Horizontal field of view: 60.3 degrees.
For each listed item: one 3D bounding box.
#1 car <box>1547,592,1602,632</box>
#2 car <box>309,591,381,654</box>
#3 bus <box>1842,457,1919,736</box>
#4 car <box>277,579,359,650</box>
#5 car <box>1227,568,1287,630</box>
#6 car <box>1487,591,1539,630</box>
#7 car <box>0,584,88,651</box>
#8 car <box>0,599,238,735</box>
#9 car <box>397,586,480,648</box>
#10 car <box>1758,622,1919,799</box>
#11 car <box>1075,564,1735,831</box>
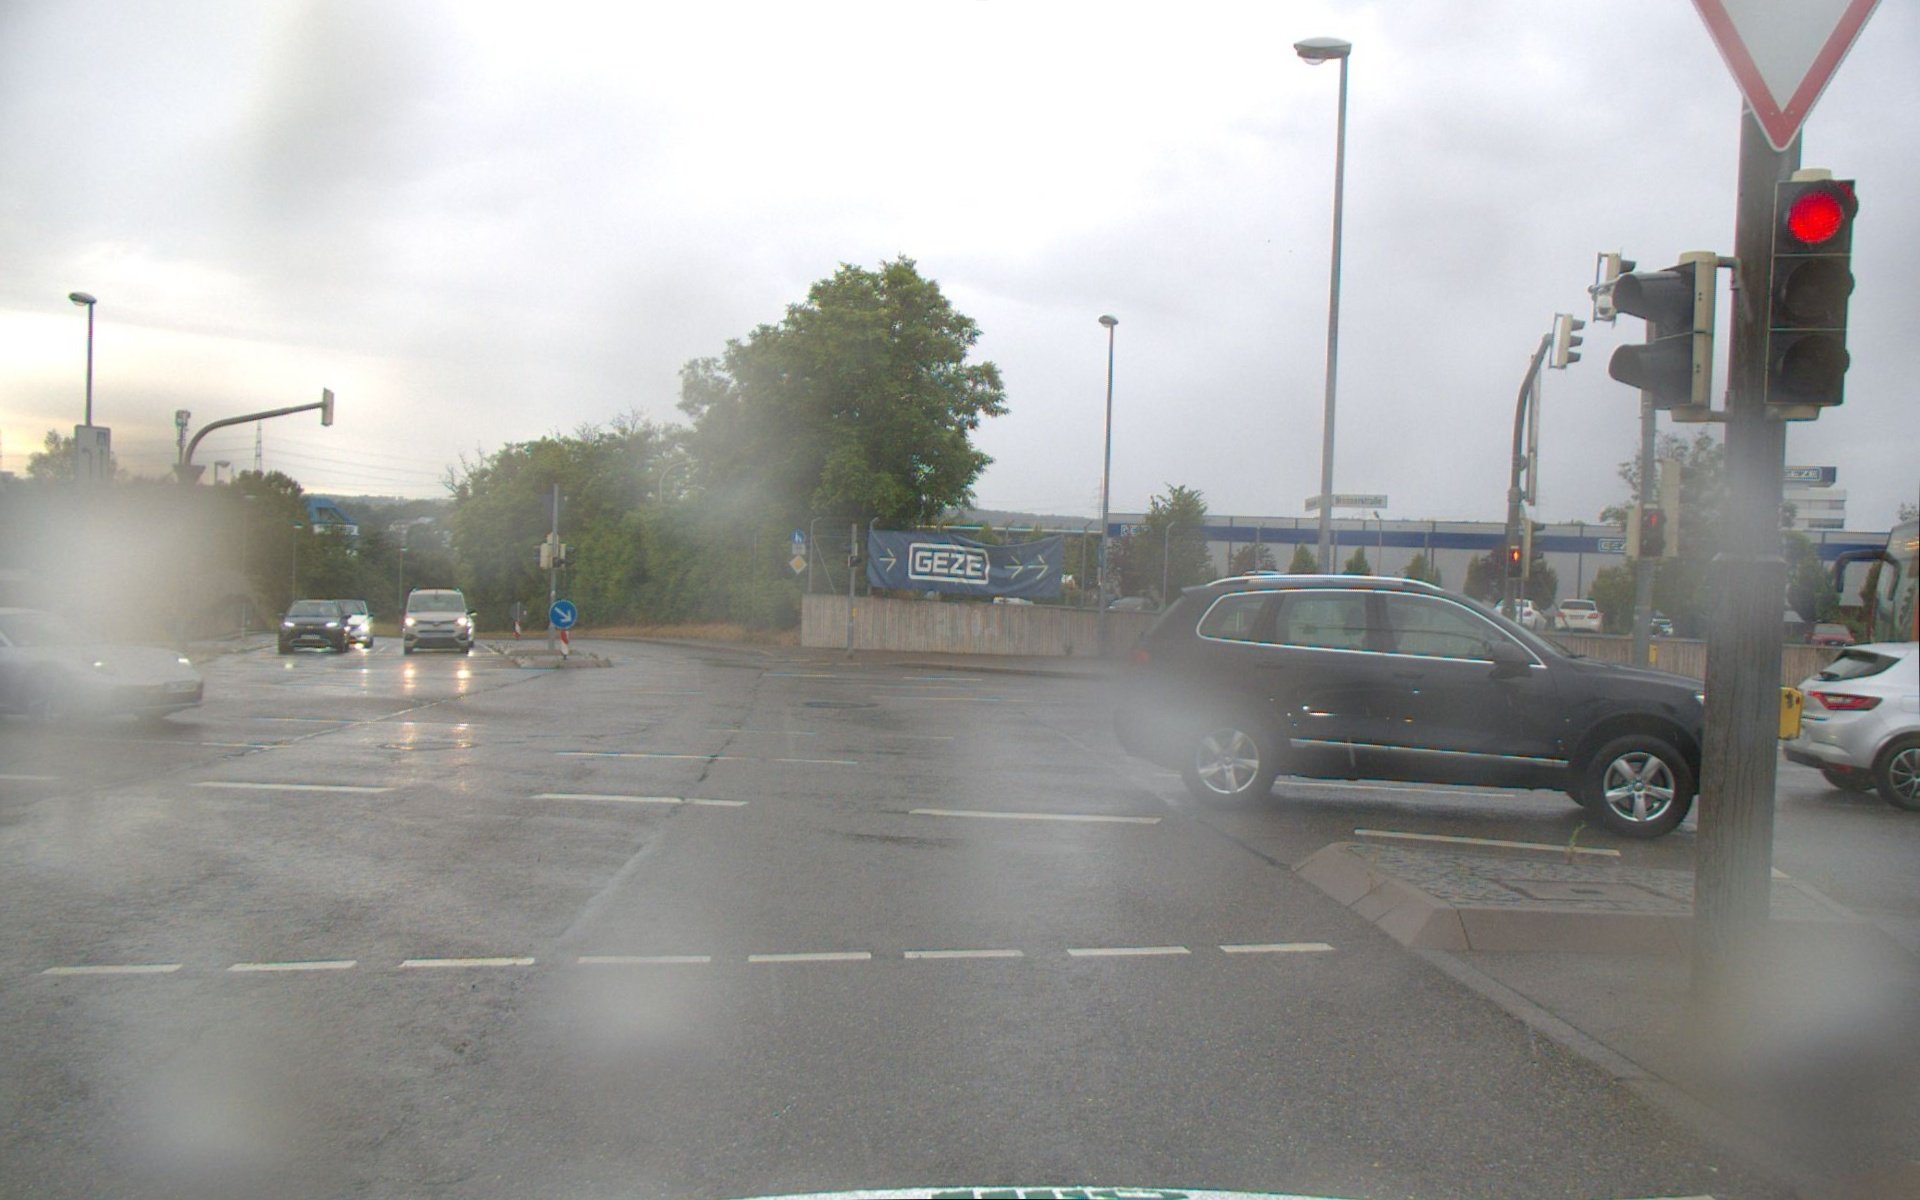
[{"bbox_3d":[25.253,0.475,68.054,1.952,1.504,4.001,2,0,19],"label":"car"},{"bbox_3d":[-20.413,0.710,55.029,1.962,1.928,3.981,1,0,-17],"label":"car"},{"bbox_3d":[17.652,0.220,19.797,12.020,3.379,3.076,3,1,17],"label":"bus"},{"bbox_3d":[-18.578,0.384,47.990,1.963,1.928,3.979,1,0,-19],"label":"car"},{"bbox_3d":[10.390,-0.049,57.838,1.951,2.049,4.003,1,0,11],"label":"car"},{"bbox_3d":[22.957,0.406,68.642,1.952,1.504,4.001,2,0,19],"label":"car"},{"bbox_3d":[-28.524,0.520,51.232,1.962,1.928,3.981,1,0,-18],"label":"car"},{"bbox_3d":[-11.001,0.720,19.398,4.337,1.382,1.858,2,0,12],"label":"car"},{"bbox_3d":[-14.872,0.454,47.339,1.960,1.646,3.986,1,0,-14],"label":"car"},{"bbox_3d":[9.519,1.000,14.668,4.051,1.441,1.929,2,0,14],"label":"car"},{"bbox_3d":[3.292,0.648,12.718,4.498,1.732,2.002,1,0,14],"label":"car"}]
